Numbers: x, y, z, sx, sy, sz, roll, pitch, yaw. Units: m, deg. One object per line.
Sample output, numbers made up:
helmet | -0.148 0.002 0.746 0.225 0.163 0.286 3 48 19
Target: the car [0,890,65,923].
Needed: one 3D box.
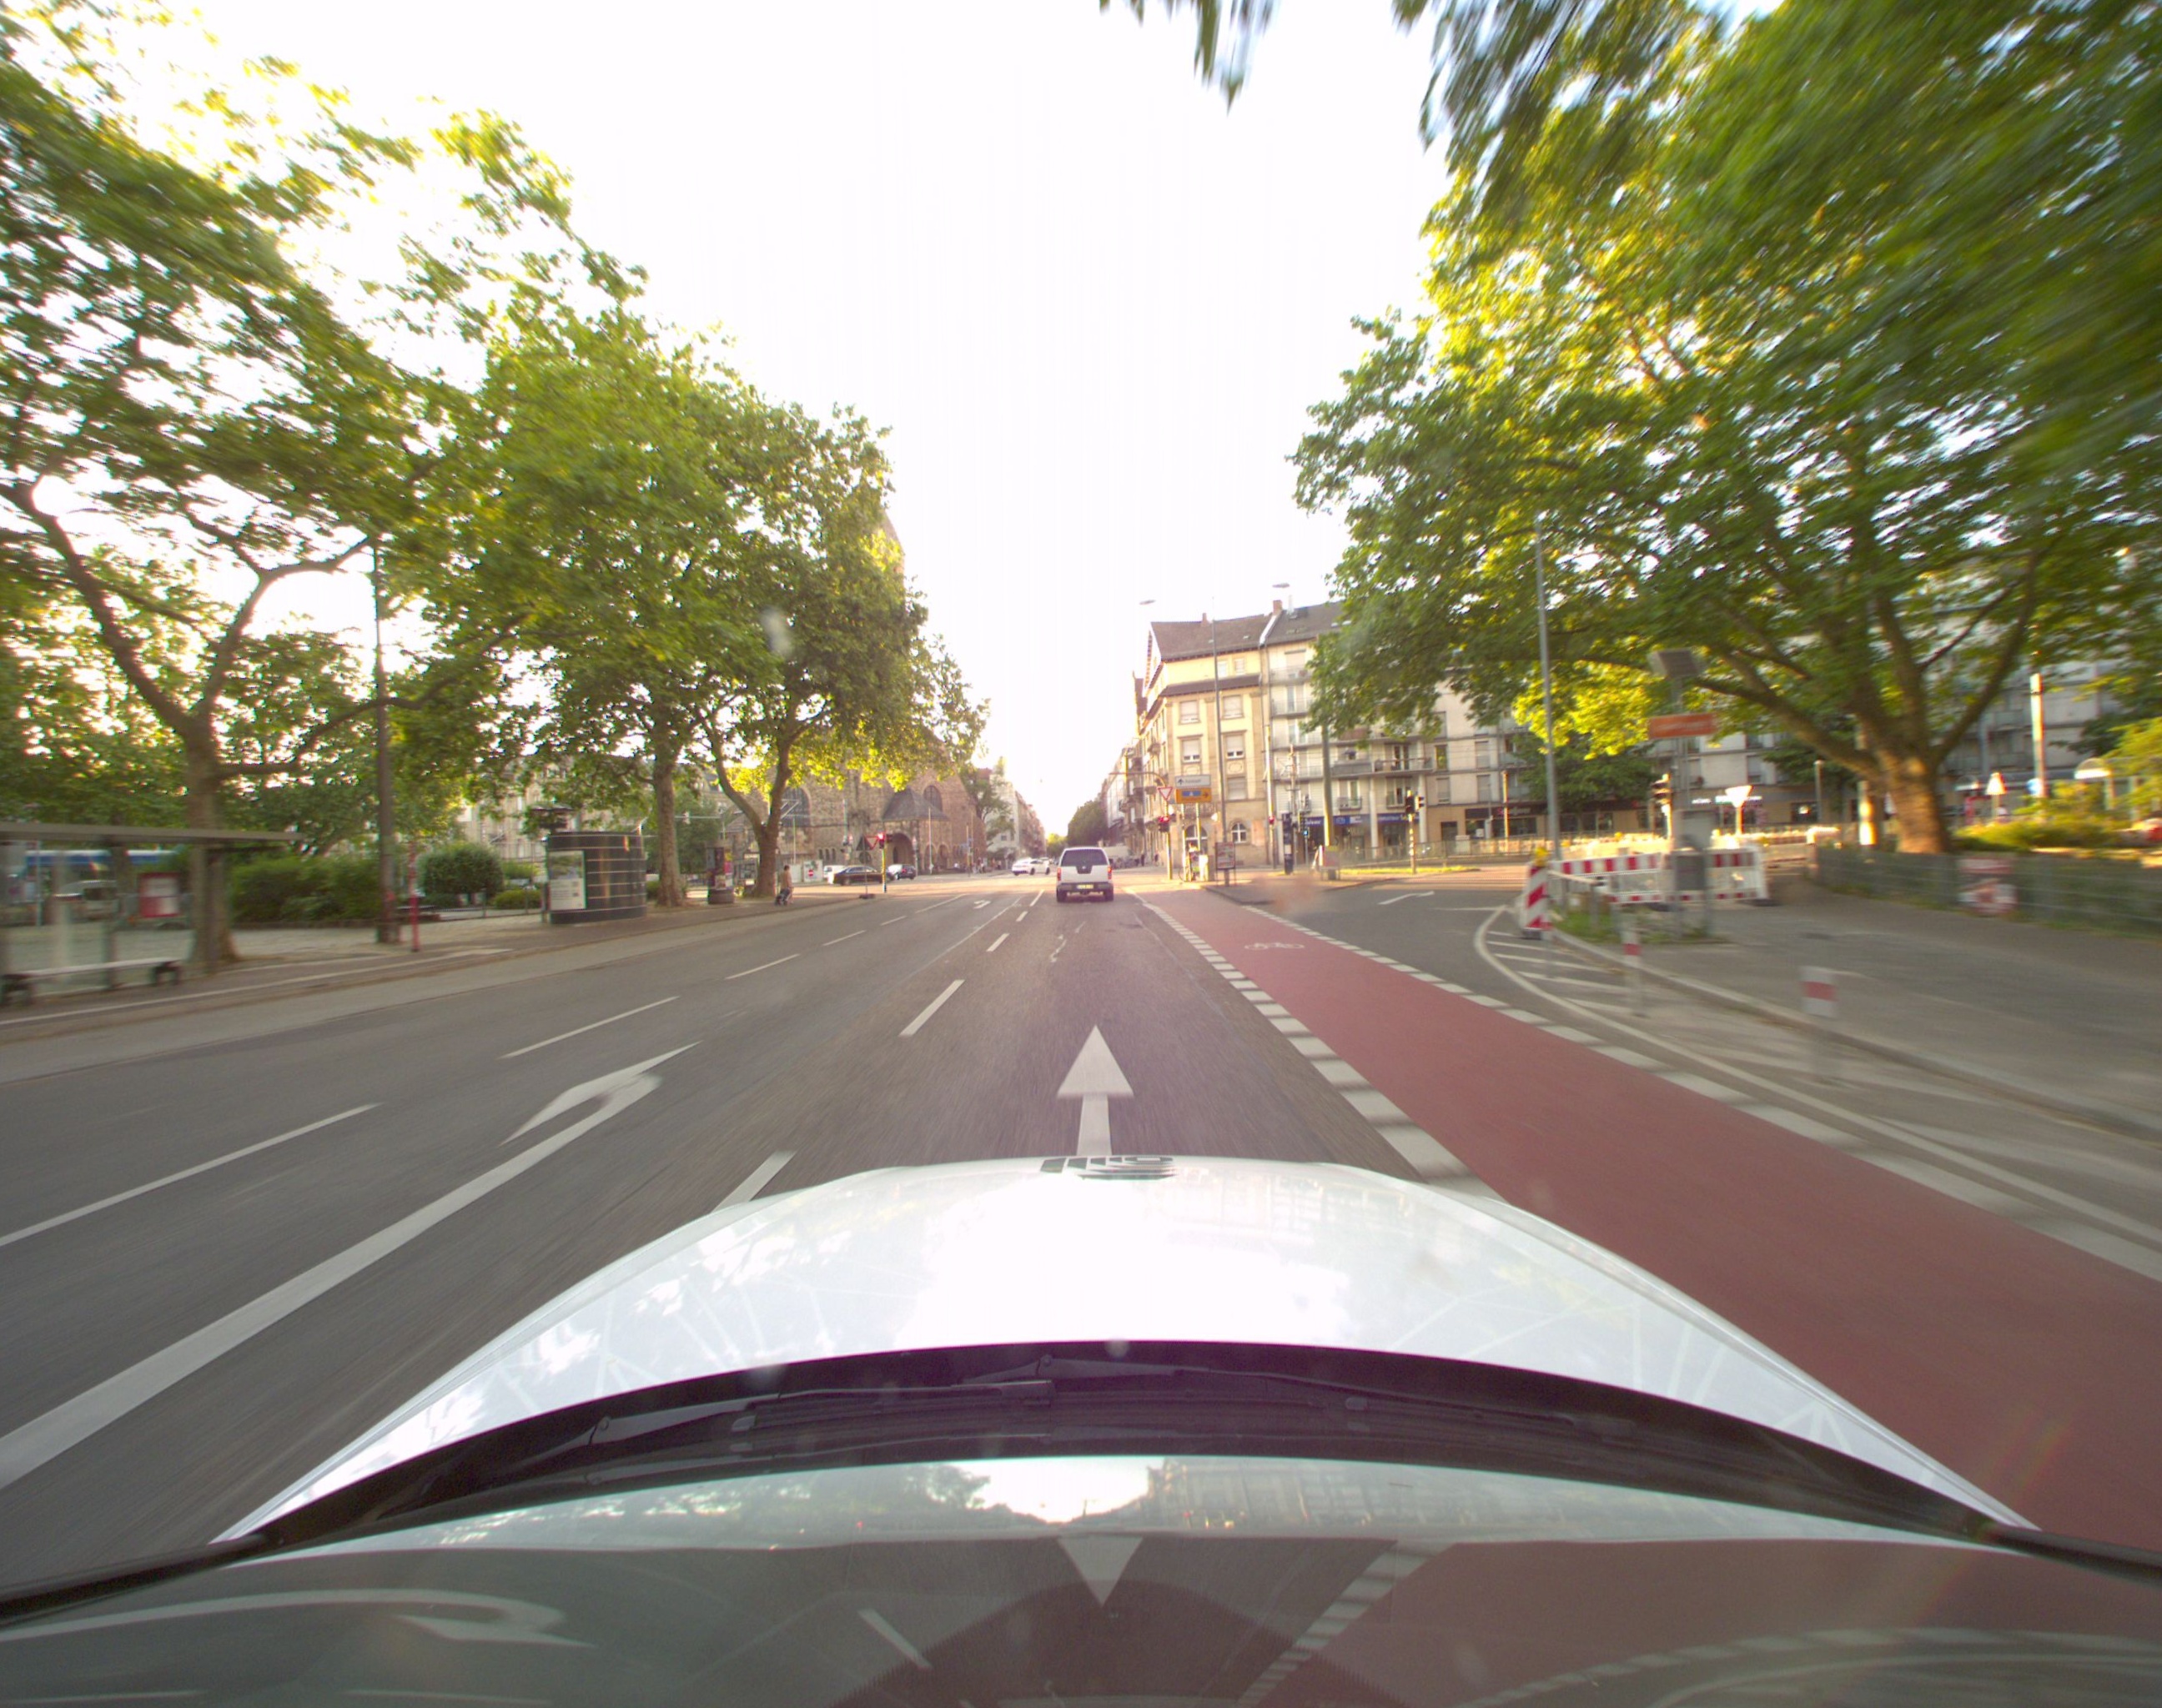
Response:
car | -65.631 3.281 50.731 4.285 1.842 1.942 -2 -1 24

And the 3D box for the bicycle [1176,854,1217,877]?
bicycle | 5.123 0.504 36.178 1.688 0.968 0.545 -2 0 -4

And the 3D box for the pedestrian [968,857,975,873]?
pedestrian | -13.083 1.367 97.417 0.590 1.886 0.554 -2 0 5

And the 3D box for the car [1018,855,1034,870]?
car | -6.466 0.990 94.653 1.778 1.651 3.815 -1 0 -5

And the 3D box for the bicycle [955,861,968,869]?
bicycle | -14.787 1.330 101.063 1.489 0.968 0.396 -2 0 11

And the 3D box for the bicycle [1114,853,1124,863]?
bicycle | 4.002 0.438 85.985 0.540 0.968 1.930 -2 0 17

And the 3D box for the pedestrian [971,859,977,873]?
pedestrian | -15.378 1.703 117.065 0.588 1.886 0.556 -2 0 23

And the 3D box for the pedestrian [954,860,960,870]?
pedestrian | -15.269 1.342 100.236 0.568 1.291 0.488 -2 0 15

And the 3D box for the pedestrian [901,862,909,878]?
pedestrian | -18.317 1.661 84.837 0.552 1.584 0.550 -2 0 10

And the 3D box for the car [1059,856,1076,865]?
car | -3.244 1.562 197.376 3.978 1.816 1.998 -2 0 -3

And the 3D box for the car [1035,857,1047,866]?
car | -6.850 1.259 138.850 1.990 1.506 3.815 -1 0 -5

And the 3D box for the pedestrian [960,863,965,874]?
pedestrian | -14.620 1.781 100.419 0.489 1.286 0.499 -2 0 0

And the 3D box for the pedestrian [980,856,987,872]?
pedestrian | -12.335 1.272 102.929 0.588 1.886 0.556 -2 0 16

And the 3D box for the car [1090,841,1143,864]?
car | 3.940 -0.167 89.700 5.854 2.287 2.048 -3 0 -40

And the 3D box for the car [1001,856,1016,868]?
car | -10.375 1.200 116.587 1.990 1.651 3.815 -1 0 -5

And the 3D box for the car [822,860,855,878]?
car | -28.229 1.720 94.966 1.691 1.909 3.516 -2 0 26

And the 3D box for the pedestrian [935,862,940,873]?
pedestrian | -16.852 1.542 95.514 0.499 1.280 0.489 -2 0 -21

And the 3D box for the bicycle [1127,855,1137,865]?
bicycle | 5.330 0.613 85.540 0.540 0.968 1.930 -2 0 17

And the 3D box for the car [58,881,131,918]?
car | -64.063 2.939 52.862 4.285 2.260 1.942 -2 -1 24

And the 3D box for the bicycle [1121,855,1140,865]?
bicycle | 5.063 0.614 83.401 1.908 0.968 0.546 -2 0 1

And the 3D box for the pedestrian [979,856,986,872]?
pedestrian | -11.785 1.230 97.396 0.651 1.886 0.586 -2 0 5

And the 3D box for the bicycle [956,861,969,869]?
bicycle | -14.745 1.404 101.427 1.489 0.968 0.396 -2 0 11

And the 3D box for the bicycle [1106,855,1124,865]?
bicycle | 3.536 0.643 84.690 1.908 0.968 0.546 -2 0 1

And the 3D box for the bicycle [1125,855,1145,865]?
bicycle | 5.573 0.609 84.168 1.900 0.968 0.548 -2 0 17

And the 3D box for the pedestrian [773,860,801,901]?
pedestrian | -12.119 1.091 33.586 0.733 1.629 0.689 -2 0 15

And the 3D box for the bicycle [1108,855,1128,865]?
bicycle | 3.804 0.637 83.876 1.912 0.968 0.544 -2 0 -7

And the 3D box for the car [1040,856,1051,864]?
car | -7.187 1.196 164.439 1.990 1.506 3.815 -1 0 -5

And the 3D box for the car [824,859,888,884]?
car | -16.949 1.283 61.360 4.275 1.651 1.982 -2 0 -27

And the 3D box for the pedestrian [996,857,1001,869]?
pedestrian | -12.878 1.439 127.269 0.547 1.886 0.597 -2 0 14

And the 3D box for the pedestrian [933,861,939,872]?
pedestrian | -16.892 1.485 95.070 0.493 1.286 0.495 -2 0 20

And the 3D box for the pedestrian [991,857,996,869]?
pedestrian | -13.589 1.399 127.122 0.554 1.886 0.590 -2 0 -24

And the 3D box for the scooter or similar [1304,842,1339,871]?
scooter or similar | 10.479 0.112 35.565 0.548 1.250 1.375 -2 0 -37

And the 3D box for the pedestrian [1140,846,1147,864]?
pedestrian | 6.568 0.093 85.396 0.590 1.886 0.648 -2 0 5

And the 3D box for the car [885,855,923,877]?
car | -16.609 1.129 76.133 2.092 1.841 4.585 -3 1 -31

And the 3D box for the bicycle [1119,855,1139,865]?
bicycle | 4.899 0.632 83.125 1.908 0.968 0.546 -2 0 1

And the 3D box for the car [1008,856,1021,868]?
car | -10.158 1.213 124.375 1.990 1.651 3.815 -1 0 -5

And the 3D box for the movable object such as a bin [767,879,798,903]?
movable object such as a bin | -12.051 1.499 32.896 0.733 0.890 0.987 -2 0 15

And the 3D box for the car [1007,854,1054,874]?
car | -4.523 0.895 73.246 1.975 1.530 4.672 -2 0 28

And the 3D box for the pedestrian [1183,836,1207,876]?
pedestrian | 5.145 0.079 36.677 0.796 1.768 0.718 -2 0 -15

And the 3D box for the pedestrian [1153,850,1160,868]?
pedestrian | 7.512 0.467 80.884 0.590 1.768 0.654 -2 0 5

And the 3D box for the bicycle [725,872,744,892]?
bicycle | -18.824 1.492 44.195 0.548 1.043 1.900 -2 0 -35

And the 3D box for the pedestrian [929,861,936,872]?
pedestrian | -17.486 1.483 95.908 0.568 1.320 0.488 -2 0 15

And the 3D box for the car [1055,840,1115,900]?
car | 0.187 0.494 27.403 1.859 1.815 4.002 -1 0 2

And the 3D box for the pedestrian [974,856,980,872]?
pedestrian | -12.459 1.225 97.448 0.590 1.886 0.554 -2 0 5

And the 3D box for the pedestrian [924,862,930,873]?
pedestrian | -17.952 1.548 94.947 0.568 1.291 0.488 -2 0 15
